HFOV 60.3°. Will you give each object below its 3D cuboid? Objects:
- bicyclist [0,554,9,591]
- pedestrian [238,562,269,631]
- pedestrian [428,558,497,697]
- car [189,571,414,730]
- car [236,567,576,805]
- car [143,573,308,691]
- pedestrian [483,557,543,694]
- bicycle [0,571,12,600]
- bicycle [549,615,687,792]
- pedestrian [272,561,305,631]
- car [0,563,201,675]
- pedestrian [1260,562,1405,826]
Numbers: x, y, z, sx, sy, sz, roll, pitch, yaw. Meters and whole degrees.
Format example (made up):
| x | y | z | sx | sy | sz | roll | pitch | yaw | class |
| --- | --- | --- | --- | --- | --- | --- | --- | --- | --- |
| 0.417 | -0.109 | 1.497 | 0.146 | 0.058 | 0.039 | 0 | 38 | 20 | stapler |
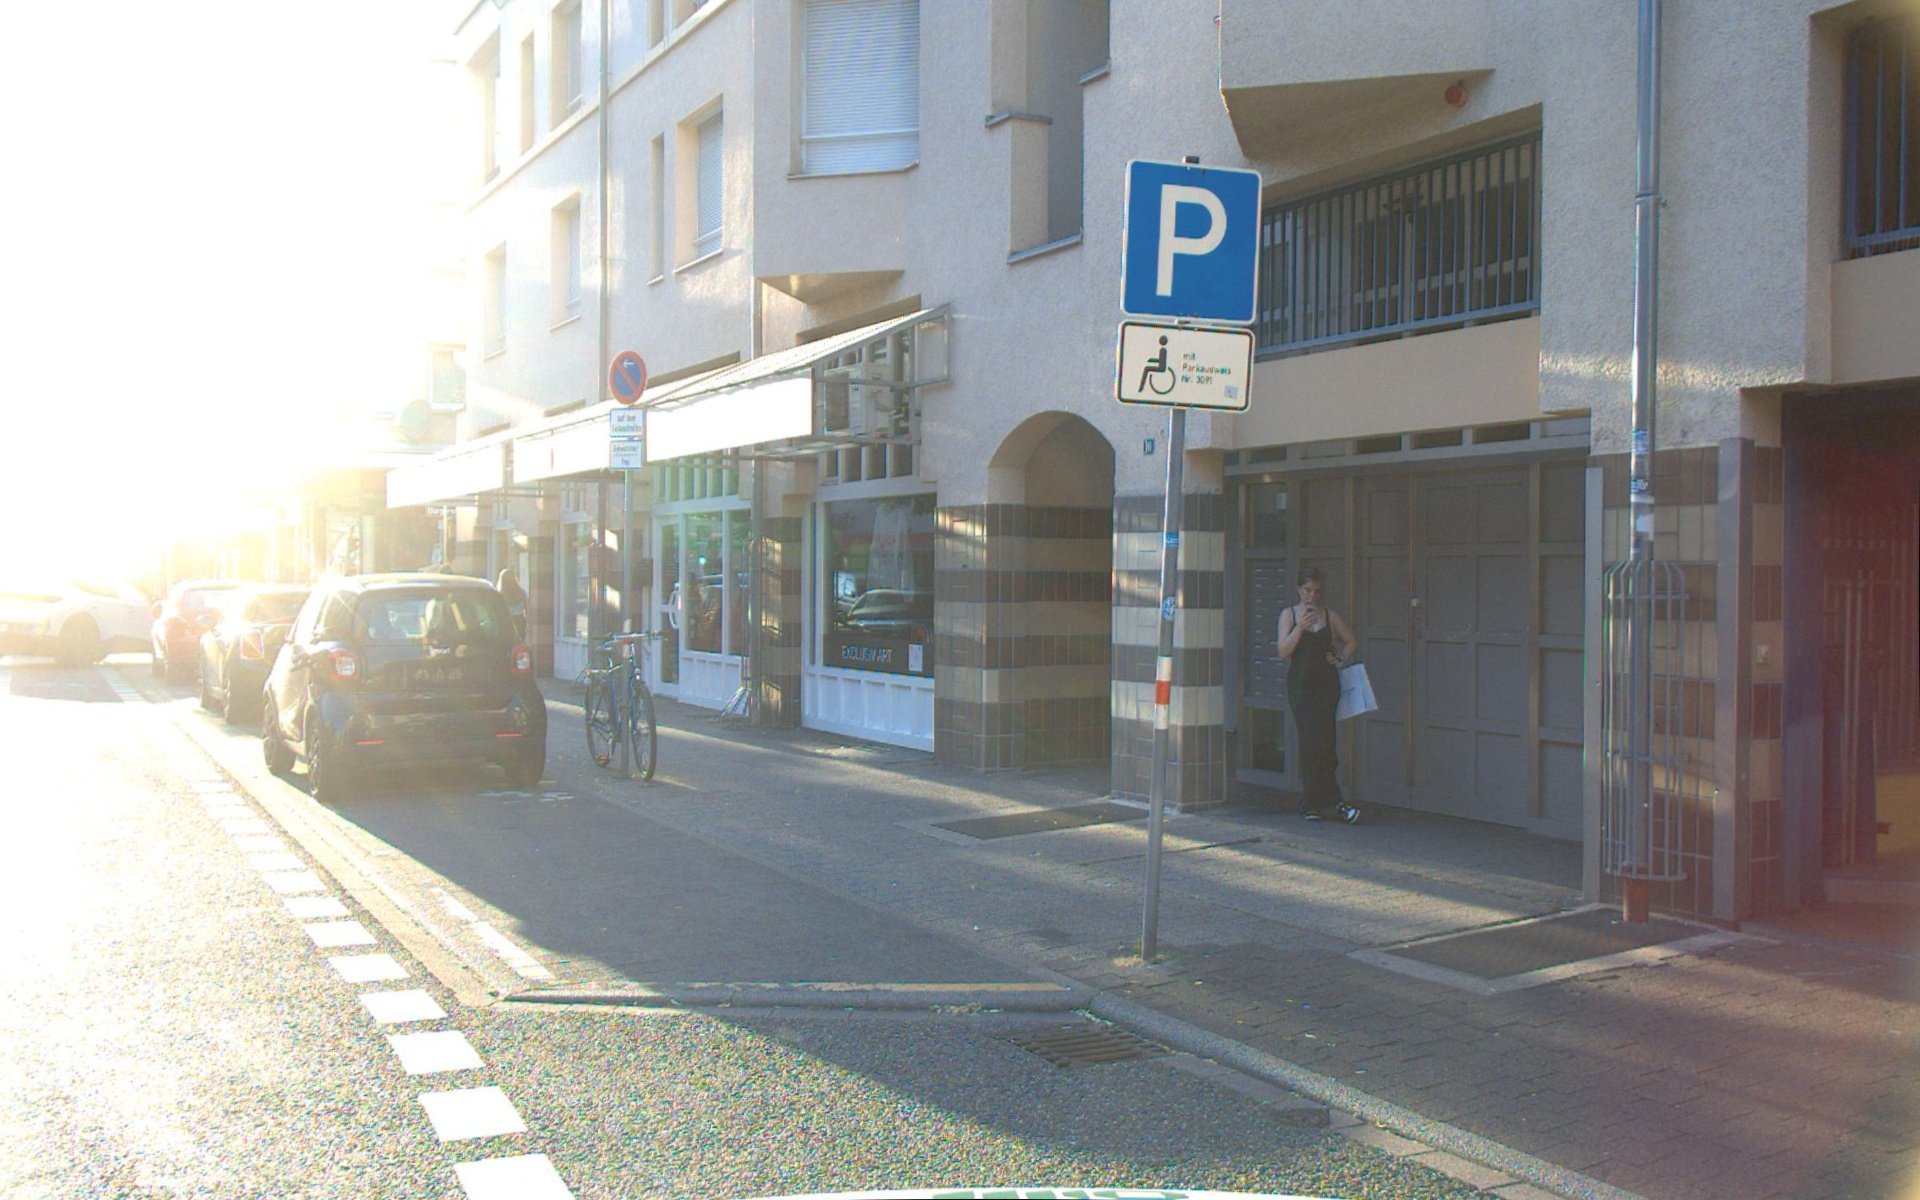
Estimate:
| x | y | z | sx | sy | sz | roll | pitch | yaw | class |
| --- | --- | --- | --- | --- | --- | --- | --- | --- | --- |
| -42.517 | -1.219 | 73.326 | 0.540 | 1.608 | 0.796 | 0 | 1 | -27 | bicyclist |
| -18.950 | -0.100 | 44.362 | 0.710 | 1.822 | 0.660 | -1 | 1 | -30 | pedestrian |
| -6.396 | 0.334 | 21.247 | 0.623 | 1.729 | 1.029 | 0 | 1 | -30 | pedestrian |
| -7.582 | 0.481 | 18.843 | 1.772 | 1.608 | 3.746 | 0 | 1 | -32 | car |
| -4.590 | 0.551 | 13.337 | 1.772 | 1.608 | 3.924 | 0 | 1 | -32 | car |
| -11.034 | 0.411 | 24.724 | 1.772 | 1.608 | 3.746 | 0 | 1 | -32 | car |
| -5.800 | 0.312 | 21.438 | 0.553 | 1.729 | 0.823 | 0 | 1 | -31 | pedestrian |
| -42.559 | -0.656 | 73.436 | 0.655 | 1.264 | 2.111 | 2 | 0 | -27 | bicycle |
| -2.713 | 0.756 | 12.966 | 0.552 | 1.227 | 1.960 | 0 | 1 | -27 | bicycle |
| -17.466 | -0.112 | 42.991 | 0.710 | 1.822 | 0.660 | -1 | 1 | -30 | pedestrian |
| -14.986 | 0.290 | 28.142 | 1.833 | 1.727 | 4.323 | 2 | 0 | 5 | car |
| 2.313 | 0.571 | 10.330 | 0.760 | 1.600 | 0.533 | 0 | 0 | -3 | pedestrian |
